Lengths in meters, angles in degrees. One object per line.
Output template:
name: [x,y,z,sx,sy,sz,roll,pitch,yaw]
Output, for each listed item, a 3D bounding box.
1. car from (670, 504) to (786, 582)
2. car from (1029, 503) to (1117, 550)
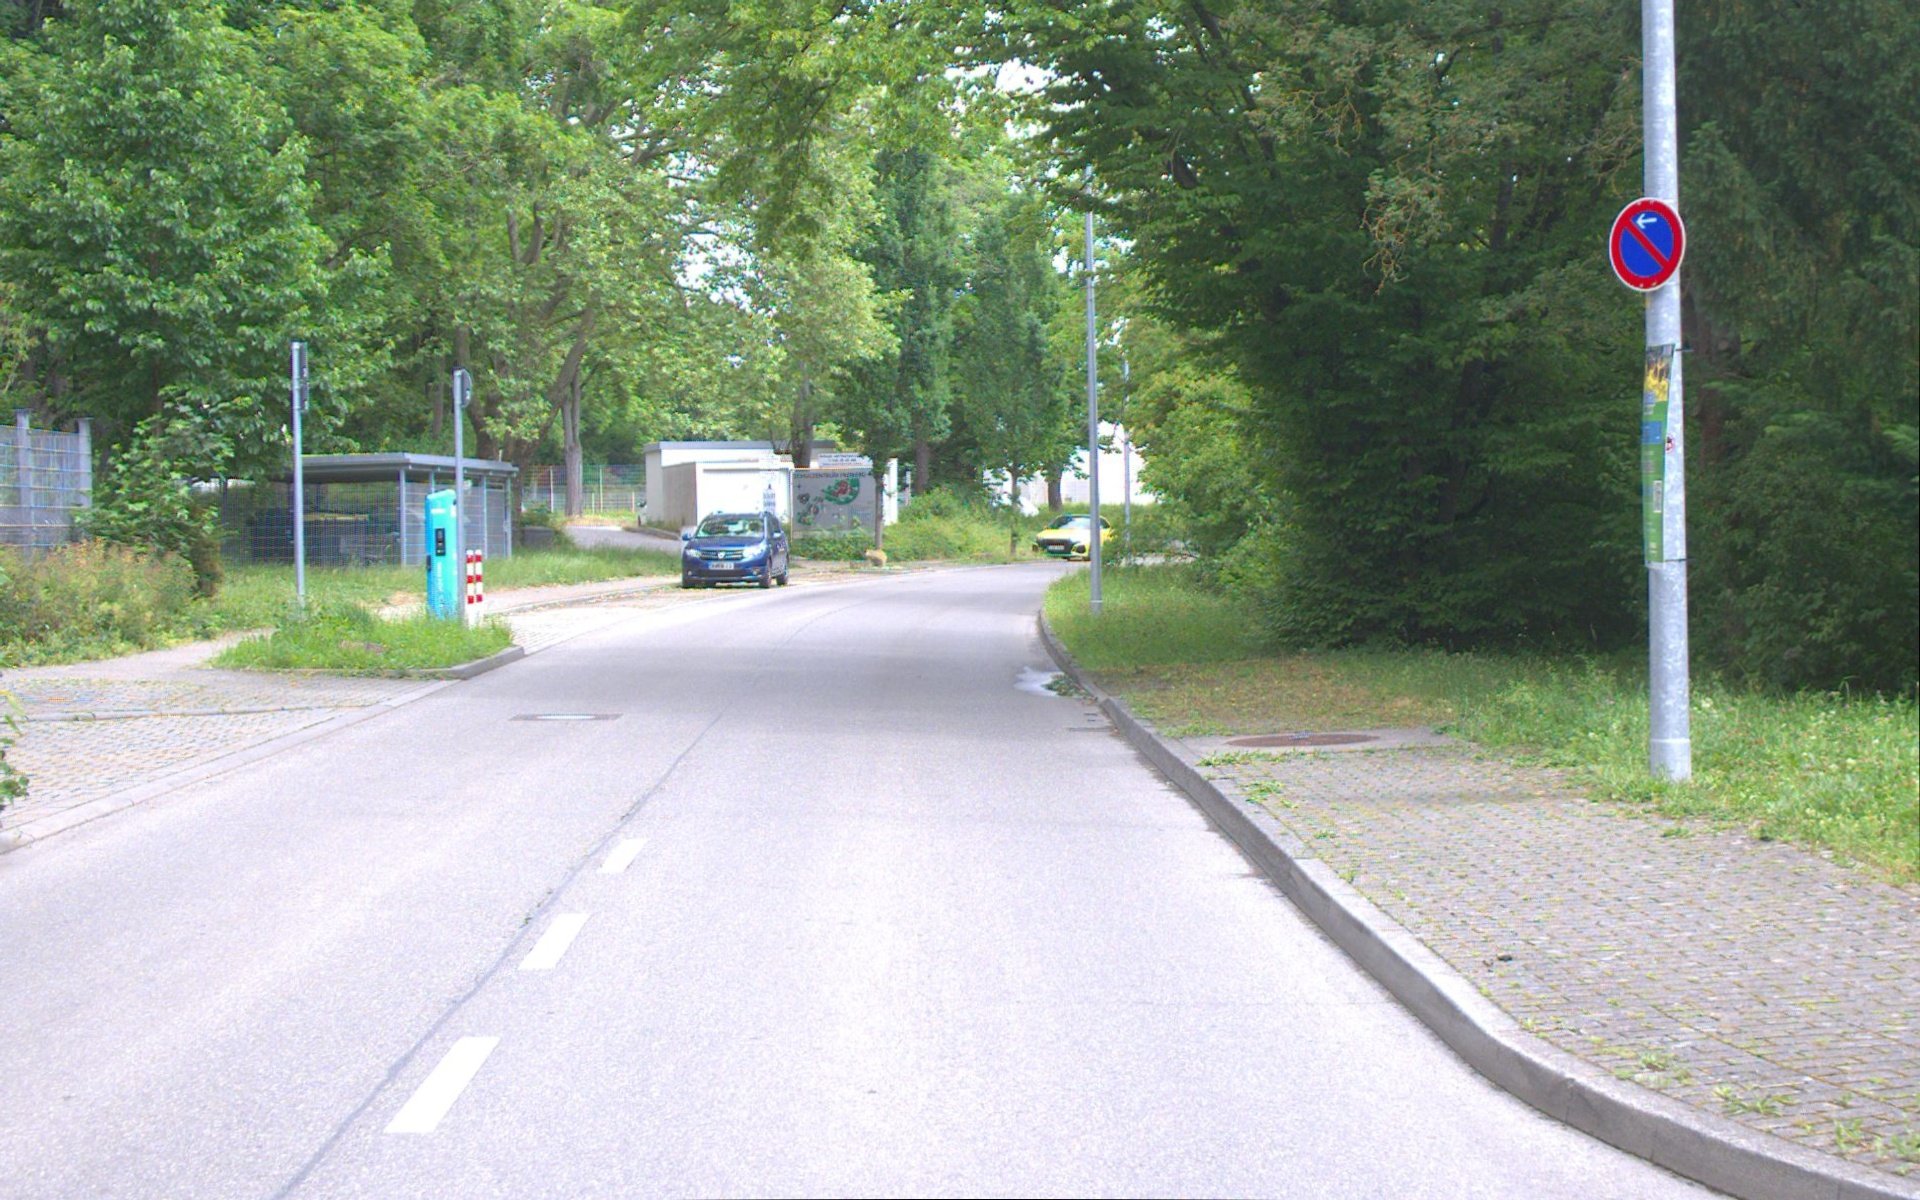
car: [-4.612,-1.155,68.822,1.680,1.506,4.431,0,1,5]
car: [3.518,-2.257,106.181,1.701,1.398,4.270,1,1,16]
